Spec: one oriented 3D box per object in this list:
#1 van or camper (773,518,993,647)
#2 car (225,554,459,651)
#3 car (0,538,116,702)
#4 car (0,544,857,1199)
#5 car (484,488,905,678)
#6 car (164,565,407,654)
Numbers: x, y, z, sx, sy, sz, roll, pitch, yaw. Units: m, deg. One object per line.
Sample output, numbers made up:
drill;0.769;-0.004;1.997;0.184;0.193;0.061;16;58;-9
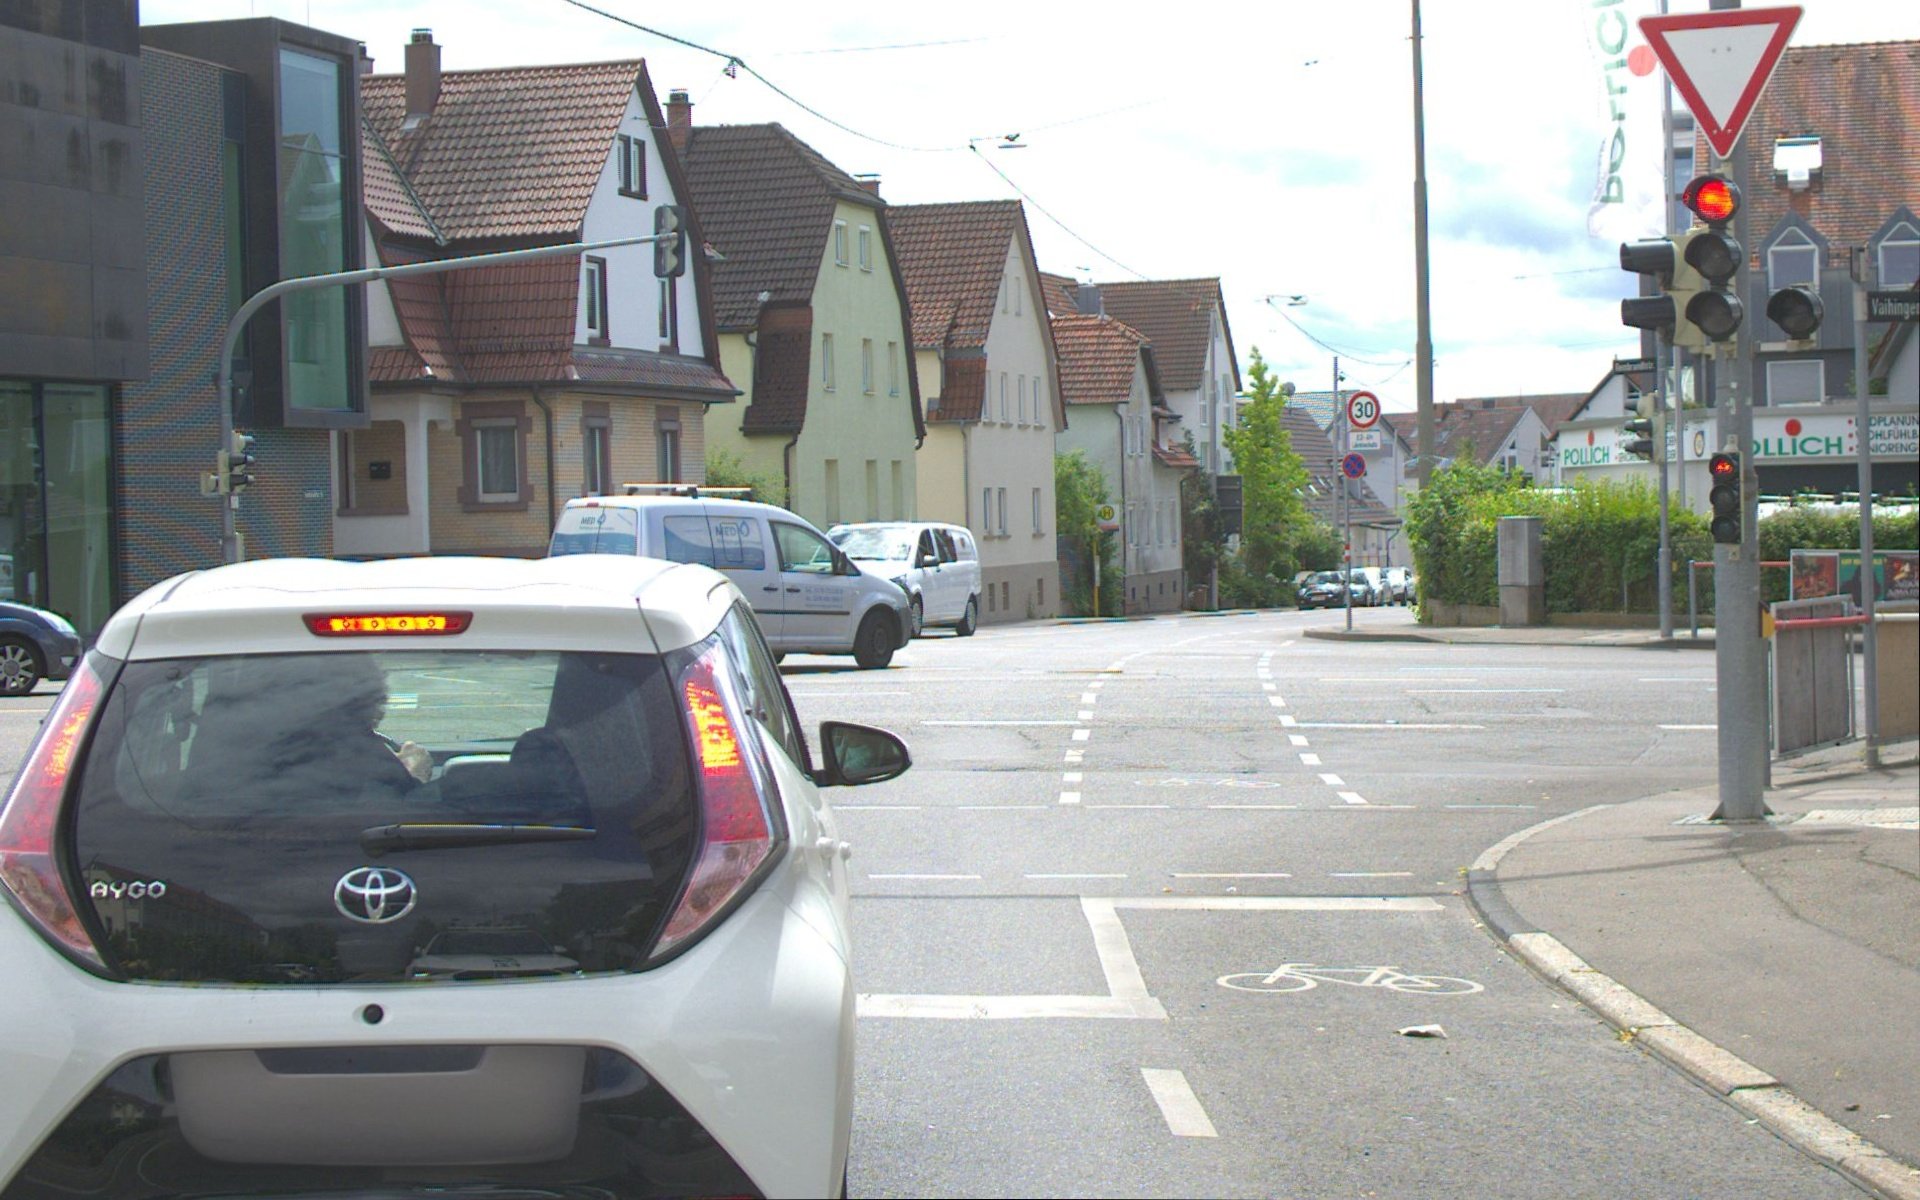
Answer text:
van or camper;-1.152;-0.305;54.720;2.117;1.919;5.282;1;1;14
car;-10.727;0.028;59.745;3.616;1.600;1.691;1;1;11
car;-9.992;0.159;31.748;3.986;1.481;2.001;0;1;-23
car;-1.085;0.630;7.111;1.697;1.451;3.299;0;1;-2
car;-2.694;-0.194;35.518;1.998;1.842;4.063;1;1;42
car;-11.283;0.148;57.622;3.616;1.414;1.691;1;1;11
